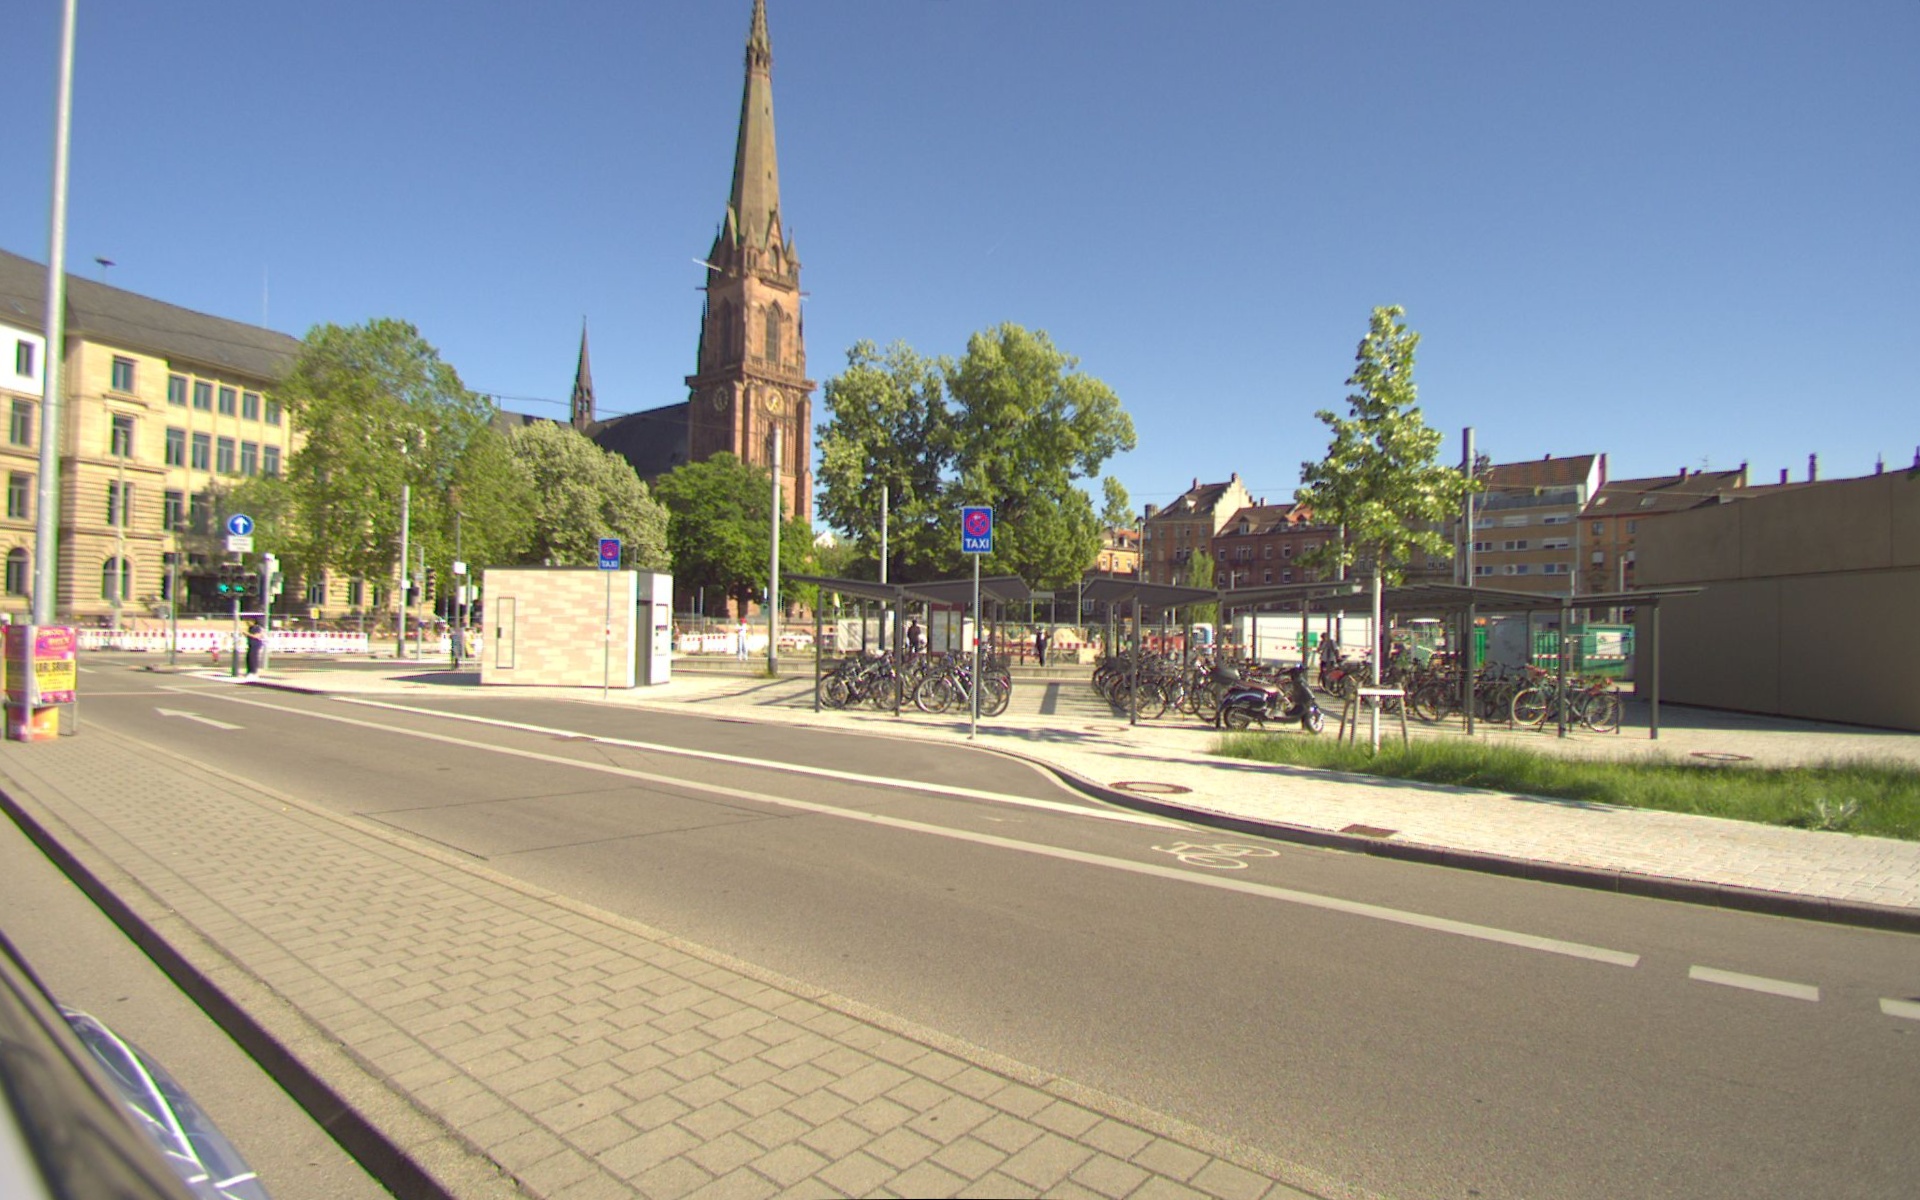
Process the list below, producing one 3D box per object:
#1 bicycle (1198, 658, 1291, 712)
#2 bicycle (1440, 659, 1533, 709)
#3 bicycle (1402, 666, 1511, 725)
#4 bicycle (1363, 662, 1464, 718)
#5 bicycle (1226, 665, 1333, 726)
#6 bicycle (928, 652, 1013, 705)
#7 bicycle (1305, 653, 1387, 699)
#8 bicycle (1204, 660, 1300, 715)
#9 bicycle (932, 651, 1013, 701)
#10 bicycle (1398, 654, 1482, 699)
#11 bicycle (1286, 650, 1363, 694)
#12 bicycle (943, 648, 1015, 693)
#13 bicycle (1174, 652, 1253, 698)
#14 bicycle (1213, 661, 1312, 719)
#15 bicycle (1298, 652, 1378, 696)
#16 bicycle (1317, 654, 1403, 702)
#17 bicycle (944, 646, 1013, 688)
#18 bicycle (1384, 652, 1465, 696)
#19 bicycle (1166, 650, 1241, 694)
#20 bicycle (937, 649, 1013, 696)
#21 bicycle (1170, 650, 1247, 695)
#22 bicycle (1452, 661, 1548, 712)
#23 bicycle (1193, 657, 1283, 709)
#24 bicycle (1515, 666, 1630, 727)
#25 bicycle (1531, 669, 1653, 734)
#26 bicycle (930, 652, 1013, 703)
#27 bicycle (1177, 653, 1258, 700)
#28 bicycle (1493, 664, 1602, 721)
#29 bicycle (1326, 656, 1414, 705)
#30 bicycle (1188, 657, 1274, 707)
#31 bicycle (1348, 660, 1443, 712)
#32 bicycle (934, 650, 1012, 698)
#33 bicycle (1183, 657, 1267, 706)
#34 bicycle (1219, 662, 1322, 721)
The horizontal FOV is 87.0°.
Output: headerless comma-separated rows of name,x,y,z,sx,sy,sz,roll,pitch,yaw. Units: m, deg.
bicycle,5.944,1.776,21.204,1.764,1.046,0.567,1,-3,4
bicycle,11.821,1.881,22.734,1.764,1.046,0.567,1,-3,4
bicycle,9.443,1.811,19.271,1.764,1.046,0.567,1,-3,4
bicycle,9.197,1.823,20.562,1.764,1.046,0.567,1,-3,4
bicycle,5.844,1.740,18.557,1.764,1.046,0.567,1,-3,4
bicycle,0.235,1.655,21.474,1.764,1.046,0.567,1,-3,4
bicycle,9.382,1.846,24.619,1.764,1.046,0.567,1,-3,4
bicycle,5.915,1.762,20.568,1.764,1.046,0.567,1,-3,4
bicycle,0.280,1.687,22.689,1.764,1.046,0.567,1,-3,4
bicycle,11.854,1.878,25.021,1.764,1.046,0.567,1,-3,4
bicycle,9.341,1.836,25.954,1.764,1.046,0.567,1,-3,4
bicycle,0.479,1.752,25.254,1.764,1.046,0.567,1,-3,4
bicycle,6.167,1.821,24.687,1.764,1.046,0.567,1,-3,4
bicycle,5.907,1.754,19.824,1.764,1.046,0.567,1,-3,4
bicycle,9.412,1.840,25.240,1.764,1.046,0.567,1,-3,4
bicycle,9.406,1.833,23.826,1.764,1.046,0.567,1,-3,4
bicycle,0.492,1.742,26.513,1.764,1.046,0.567,1,-3,4
bicycle,11.796,1.878,25.735,1.764,1.046,0.567,1,-3,4
bicycle,6.236,1.840,25.958,1.764,1.046,0.567,1,-3,4
bicycle,0.366,1.701,23.928,1.764,1.046,0.567,1,-3,4
bicycle,6.208,1.801,25.322,1.764,1.046,0.567,1,-3,4
bicycle,11.785,1.882,22.122,1.764,1.046,0.567,1,-3,4
bicycle,6.000,1.793,21.892,1.764,1.046,0.567,1,-3,4
bicycle,11.379,1.789,18.827,1.764,1.046,0.567,1,-3,4
bicycle,11.156,1.783,17.892,1.764,1.046,0.567,1,-3,4
bicycle,0.251,1.682,22.088,1.764,1.046,0.567,1,-3,4
bicycle,6.121,1.819,24.085,1.764,1.046,0.567,1,-3,4
bicycle,11.580,1.816,19.993,1.769,1.046,0.566,1,-3,11
bicycle,9.348,1.819,23.108,1.764,1.046,0.567,1,-3,4
bicycle,6.040,1.814,22.602,1.764,1.046,0.567,1,-3,4
bicycle,9.268,1.821,21.559,1.764,1.046,0.567,1,-3,4
bicycle,0.306,1.702,23.328,1.764,1.046,0.567,1,-3,4
bicycle,6.086,1.871,23.318,1.764,1.046,0.567,1,-3,4
bicycle,5.885,1.730,19.222,1.764,1.046,0.567,1,-3,4
